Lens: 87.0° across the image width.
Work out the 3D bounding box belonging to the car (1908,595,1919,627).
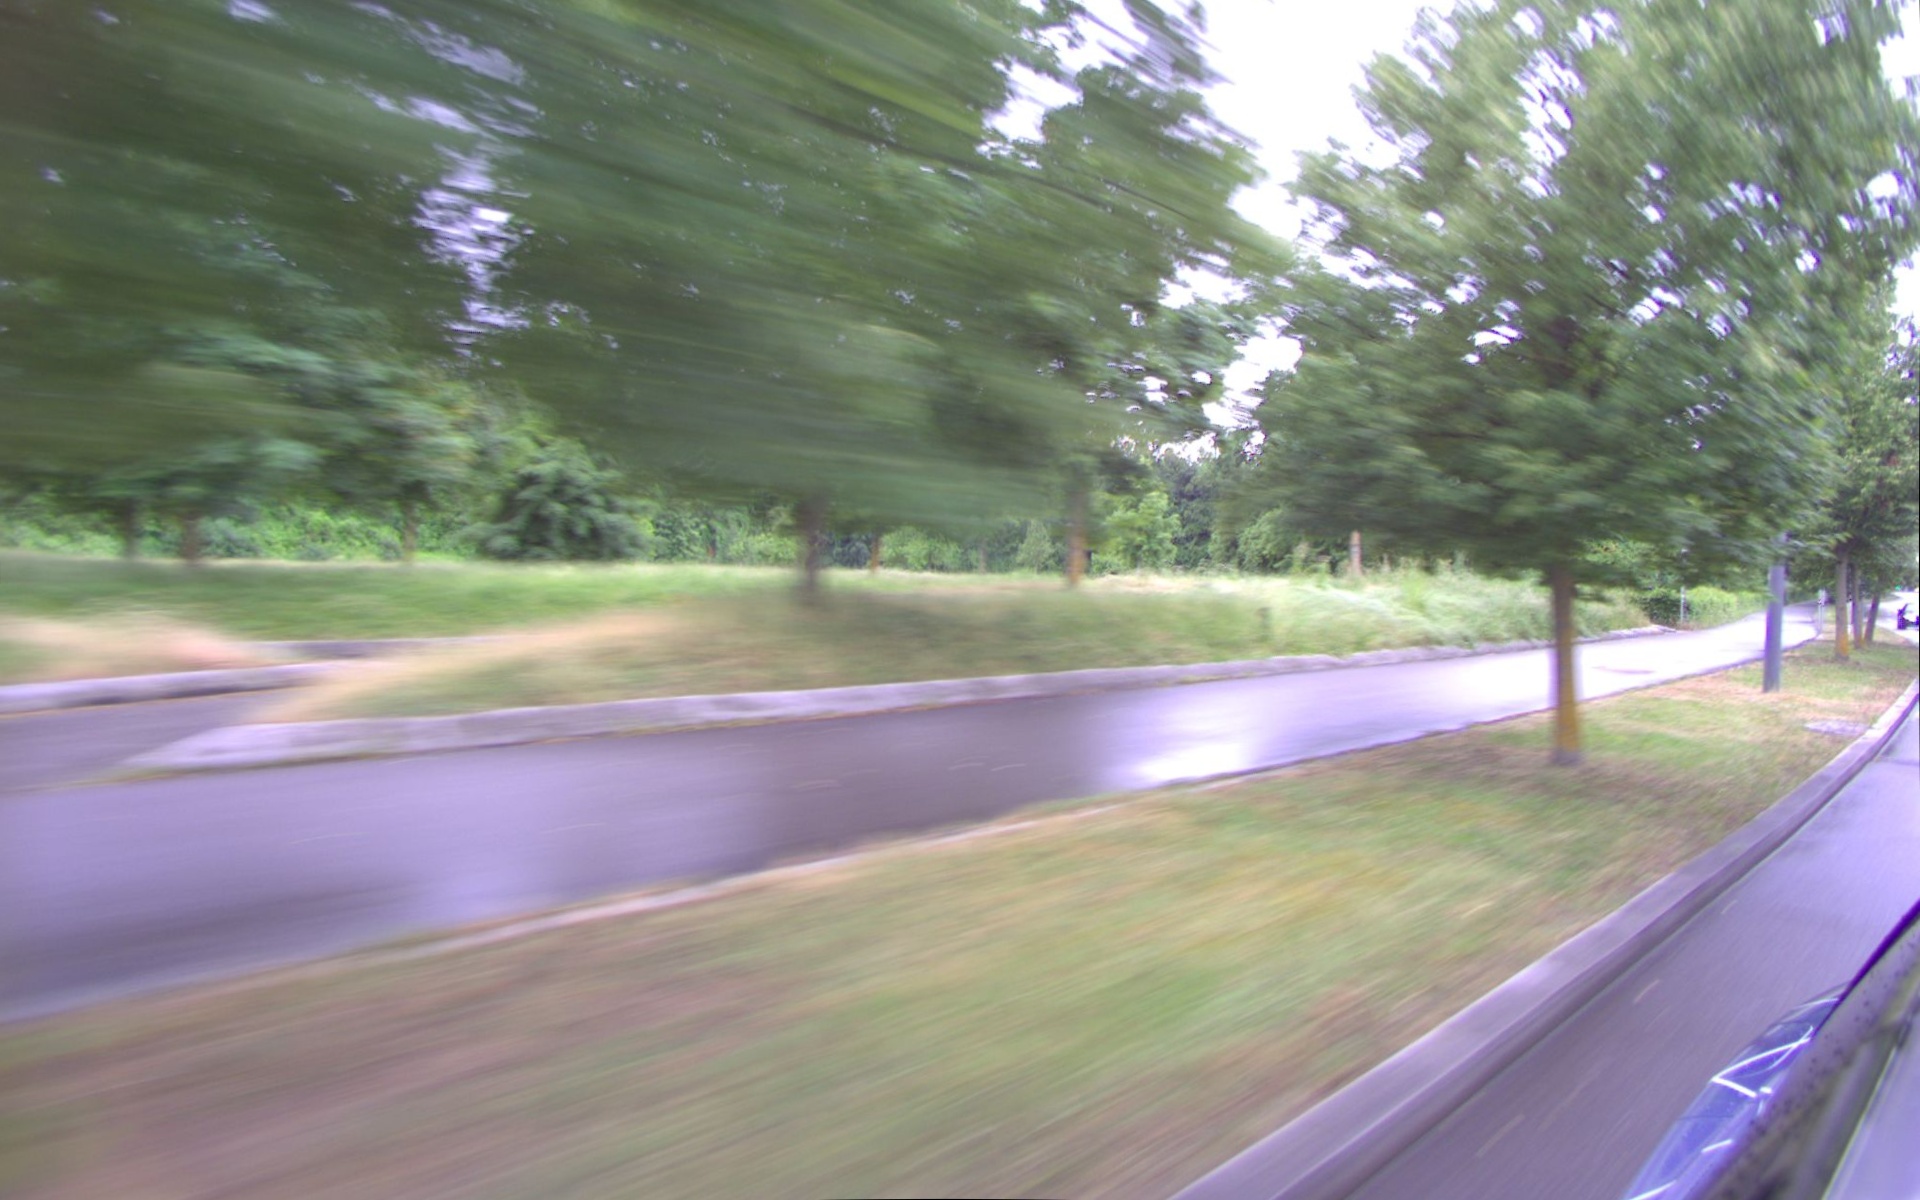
[{"bbox_3d":[51.431,0.565,53.346,1.817,1.576,3.943,1,2,39],"label":"car"}]
